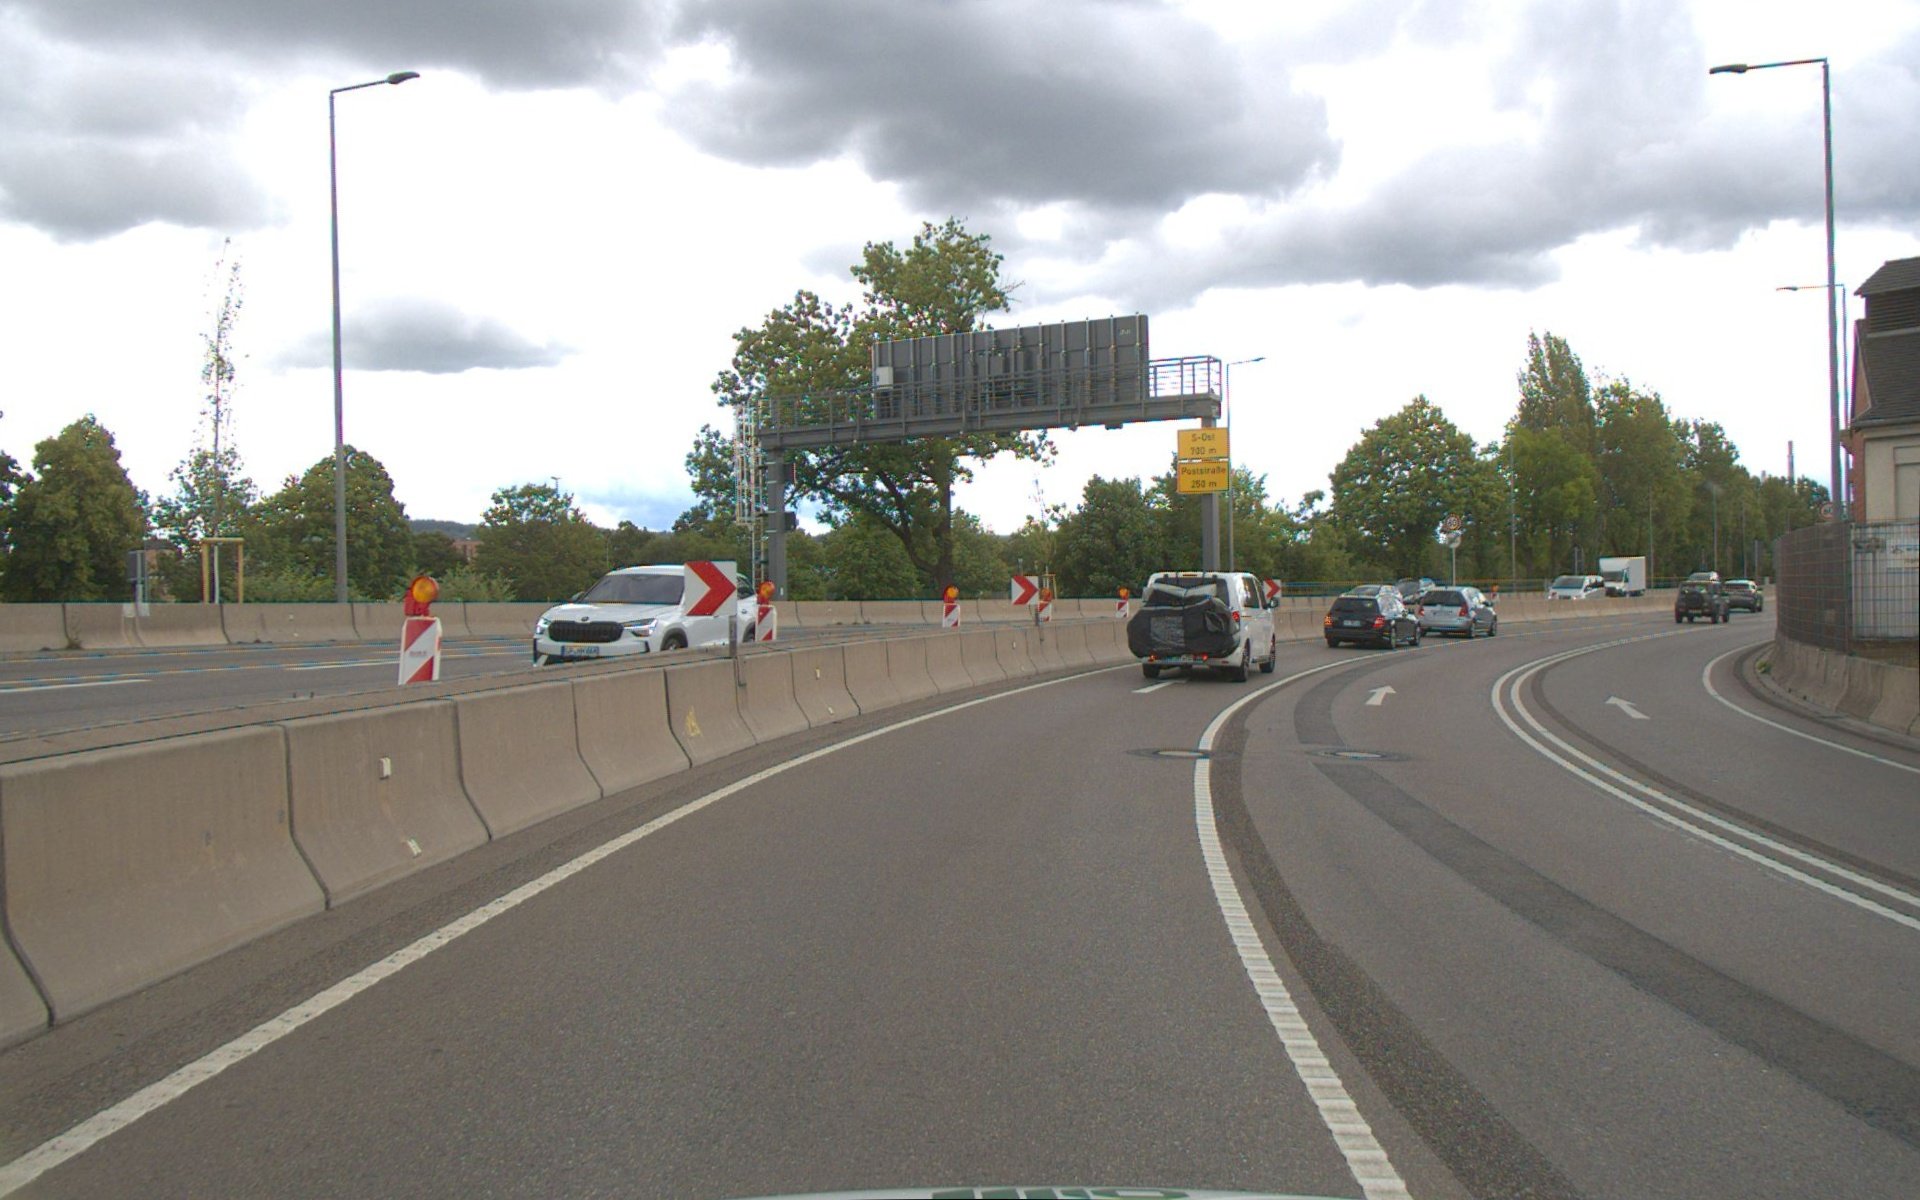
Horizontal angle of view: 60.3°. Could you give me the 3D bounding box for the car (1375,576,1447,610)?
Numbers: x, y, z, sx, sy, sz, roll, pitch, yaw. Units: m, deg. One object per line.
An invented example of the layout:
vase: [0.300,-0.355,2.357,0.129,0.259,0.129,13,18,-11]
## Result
car: [23.185,-0.358,84.939,1.961,1.701,4.708,2,1,37]

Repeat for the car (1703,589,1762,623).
car: [40.006,0.306,85.660,1.961,1.702,3.983,2,1,37]

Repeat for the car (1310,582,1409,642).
car: [10.607,0.288,43.712,1.778,1.459,4.063,-1,0,25]

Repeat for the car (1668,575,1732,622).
car: [30.445,-0.040,67.986,1.957,1.892,3.991,-1,-1,31]

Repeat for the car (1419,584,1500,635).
car: [15.824,0.264,52.273,1.882,1.515,4.062,0,1,25]
